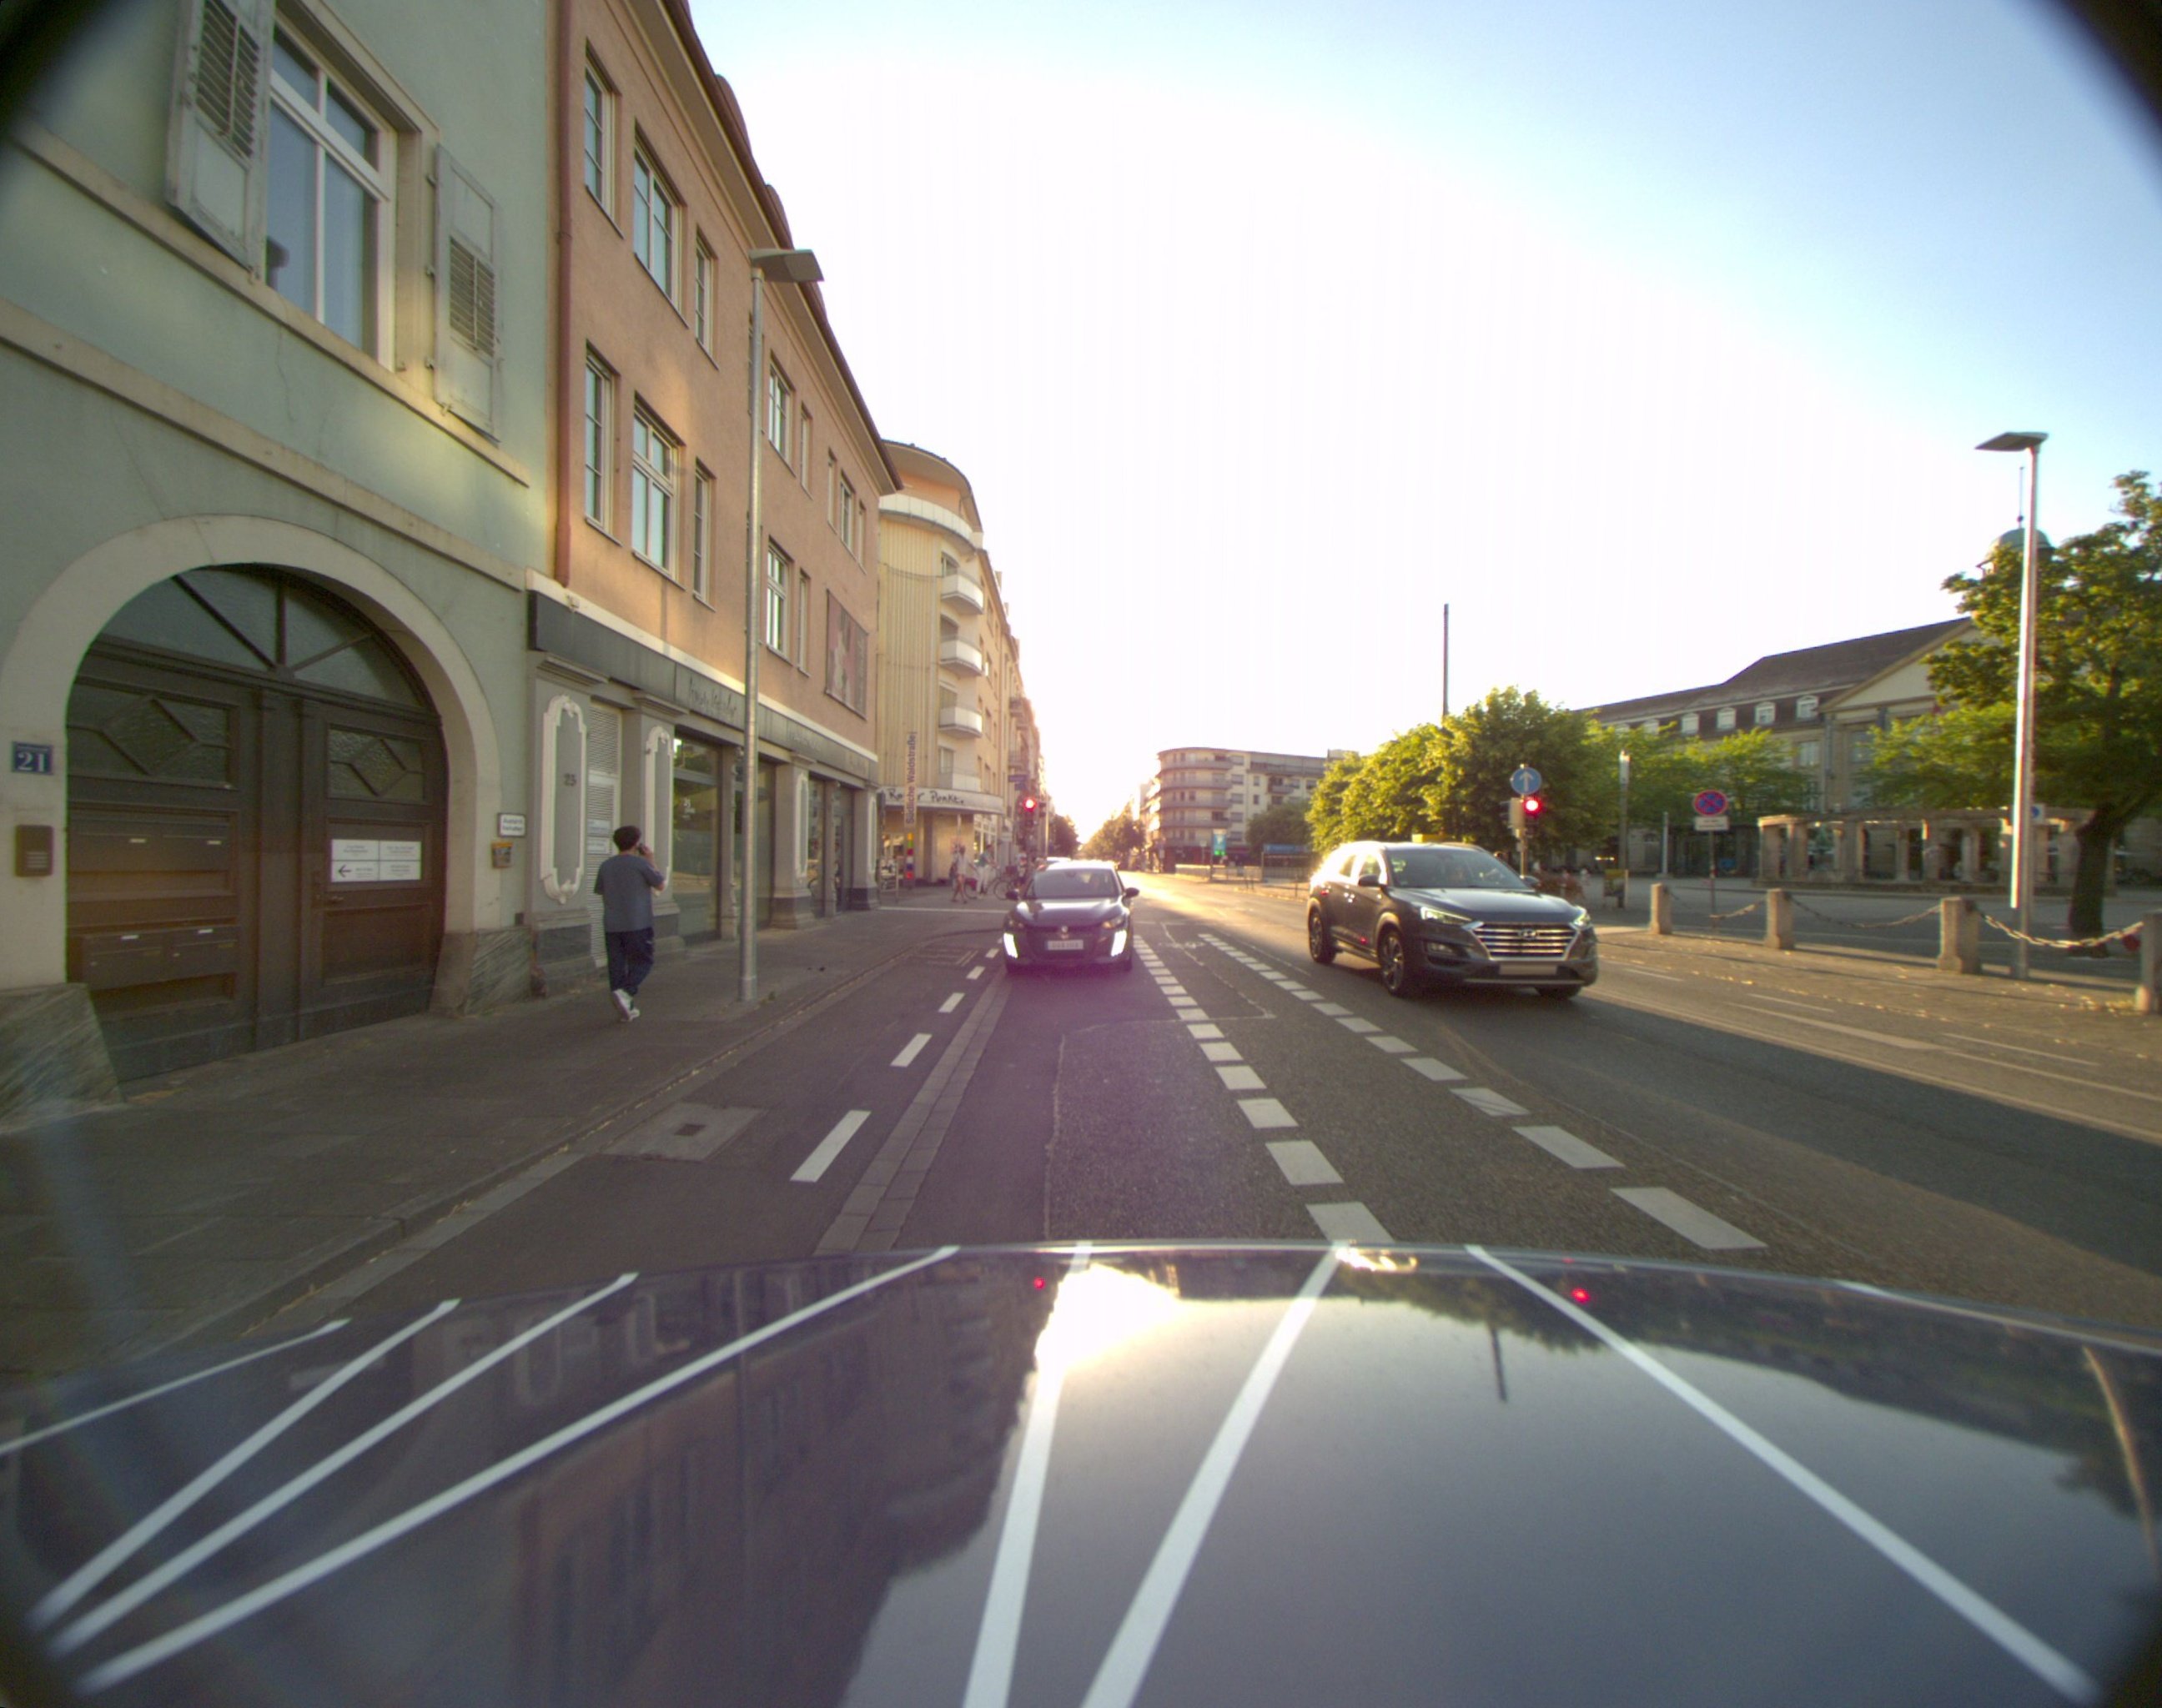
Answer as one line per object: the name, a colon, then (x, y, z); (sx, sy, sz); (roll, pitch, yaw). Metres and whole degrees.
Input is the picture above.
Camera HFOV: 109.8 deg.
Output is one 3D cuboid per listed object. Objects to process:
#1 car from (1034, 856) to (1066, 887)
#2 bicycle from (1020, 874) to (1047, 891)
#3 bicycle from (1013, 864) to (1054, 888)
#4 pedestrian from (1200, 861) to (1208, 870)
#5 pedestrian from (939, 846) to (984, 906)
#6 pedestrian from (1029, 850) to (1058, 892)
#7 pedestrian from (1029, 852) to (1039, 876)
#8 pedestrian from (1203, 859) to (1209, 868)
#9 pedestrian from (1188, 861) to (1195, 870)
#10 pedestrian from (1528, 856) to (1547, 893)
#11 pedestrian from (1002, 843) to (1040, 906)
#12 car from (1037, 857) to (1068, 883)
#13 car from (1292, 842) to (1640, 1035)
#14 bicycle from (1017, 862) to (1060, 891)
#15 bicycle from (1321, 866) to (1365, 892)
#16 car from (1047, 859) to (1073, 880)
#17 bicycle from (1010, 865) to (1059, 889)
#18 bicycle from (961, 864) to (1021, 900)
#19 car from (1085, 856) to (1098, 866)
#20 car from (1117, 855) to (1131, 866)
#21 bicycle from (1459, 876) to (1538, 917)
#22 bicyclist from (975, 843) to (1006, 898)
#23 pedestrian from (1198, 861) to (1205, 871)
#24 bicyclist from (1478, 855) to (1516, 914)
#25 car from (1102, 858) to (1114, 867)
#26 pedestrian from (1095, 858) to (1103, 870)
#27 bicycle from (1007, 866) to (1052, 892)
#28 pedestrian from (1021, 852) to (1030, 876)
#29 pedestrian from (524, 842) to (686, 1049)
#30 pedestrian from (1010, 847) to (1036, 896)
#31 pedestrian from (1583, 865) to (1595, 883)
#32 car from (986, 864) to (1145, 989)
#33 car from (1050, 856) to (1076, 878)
car: (-1.745, 0.946, 42.781); (1.702, 1.607, 4.682); (0, 0, -2)
bicycle: (-1.973, 1.185, 31.520); (1.008, 0.677, 1.049); (1, 0, -9)
bicycle: (-2.271, 1.057, 36.447); (1.851, 1.117, 0.594); (2, 1, -11)
pedestrian: (17.759, 1.613, 109.698); (0.689, 1.314, 0.819); (0, 0, -24)
pedestrian: (-3.665, 0.657, 23.212); (1.097, 1.764, 0.828); (1, 0, 42)
pedestrian: (-1.470, 0.664, 29.916); (0.789, 1.643, 0.782); (1, 0, 43)
pedestrian: (-3.977, 0.859, 64.639); (0.763, 2.002, 0.851); (0, 0, 0)
pedestrian: (17.996, 1.420, 109.475); (0.732, 1.314, 0.888); (0, 0, -2)
pedestrian: (15.701, 1.607, 107.845); (0.887, 1.185, 0.733); (0, 0, 9)
pedestrian: (20.666, 0.921, 34.406); (0.703, 1.611, 0.842); (0, 1, 34)
pedestrian: (-1.856, 0.620, 23.447); (0.942, 1.886, 0.824); (1, 0, -21)
car: (-1.783, 0.997, 49.060); (1.821, 1.611, 4.203); (0, 0, 0)
car: (4.059, 0.774, 9.021); (1.877, 1.679, 4.450); (1, 0, 1)
bicycle: (-1.858, 0.979, 33.117); (1.849, 1.232, 0.639); (1, 0, -6)
bicycle: (13.084, 1.237, 37.954); (2.031, 1.245, 0.548); (-1, 0, -4)
car: (-1.477, 1.097, 54.683); (1.738, 1.448, 4.610); (0, 0, 0)
bicycle: (-2.177, 1.067, 35.448); (2.176, 1.069, 0.805); (2, 0, -7)
bicycle: (-3.030, 0.934, 25.623); (1.823, 1.179, 0.794); (1, 0, 9)
car: (1.958, 1.331, 144.270); (1.878, 1.621, 4.177); (3, -1, -5)
car: (7.592, 1.102, 133.998); (1.999, 1.805, 3.999); (0, 0, -2)
bicycle: (12.264, 1.245, 22.390); (1.917, 1.111, 0.706); (1, 0, 17)
bicyclist: (-3.048, 0.544, 25.657); (0.835, 1.815, 0.831); (1, 0, 8)
pedestrian: (17.324, 1.719, 109.232); (0.732, 1.314, 0.889); (0, 0, -1)
bicyclist: (12.274, 0.882, 22.418); (0.777, 1.714, 0.856); (1, 0, 15)
car: (4.711, 1.408, 131.540); (1.790, 1.458, 3.956); (1, 0, -2)
pedestrian: (2.189, 1.183, 91.405); (0.678, 1.508, 0.676); (1, 0, -42)
bicycle: (-2.188, 1.057, 32.179); (1.788, 1.057, 0.718); (2, 0, -11)
pedestrian: (-4.735, 0.874, 64.709); (0.673, 2.002, 0.851); (0, 0, 0)
pedestrian: (-3.974, 0.725, 6.419); (0.825, 1.632, 0.871); (1, 0, -2)
pedestrian: (-2.221, 0.657, 28.874); (0.826, 1.806, 0.870); (1, 0, -13)
pedestrian: (30.743, 1.205, 45.981); (0.461, 1.057, 0.531); (-1, -2, 20)
car: (-0.013, 0.901, 11.381); (1.907, 1.438, 4.451); (0, 0, 5)
car: (-1.373, 1.024, 60.234); (1.877, 1.664, 4.430); (0, 0, 0)
